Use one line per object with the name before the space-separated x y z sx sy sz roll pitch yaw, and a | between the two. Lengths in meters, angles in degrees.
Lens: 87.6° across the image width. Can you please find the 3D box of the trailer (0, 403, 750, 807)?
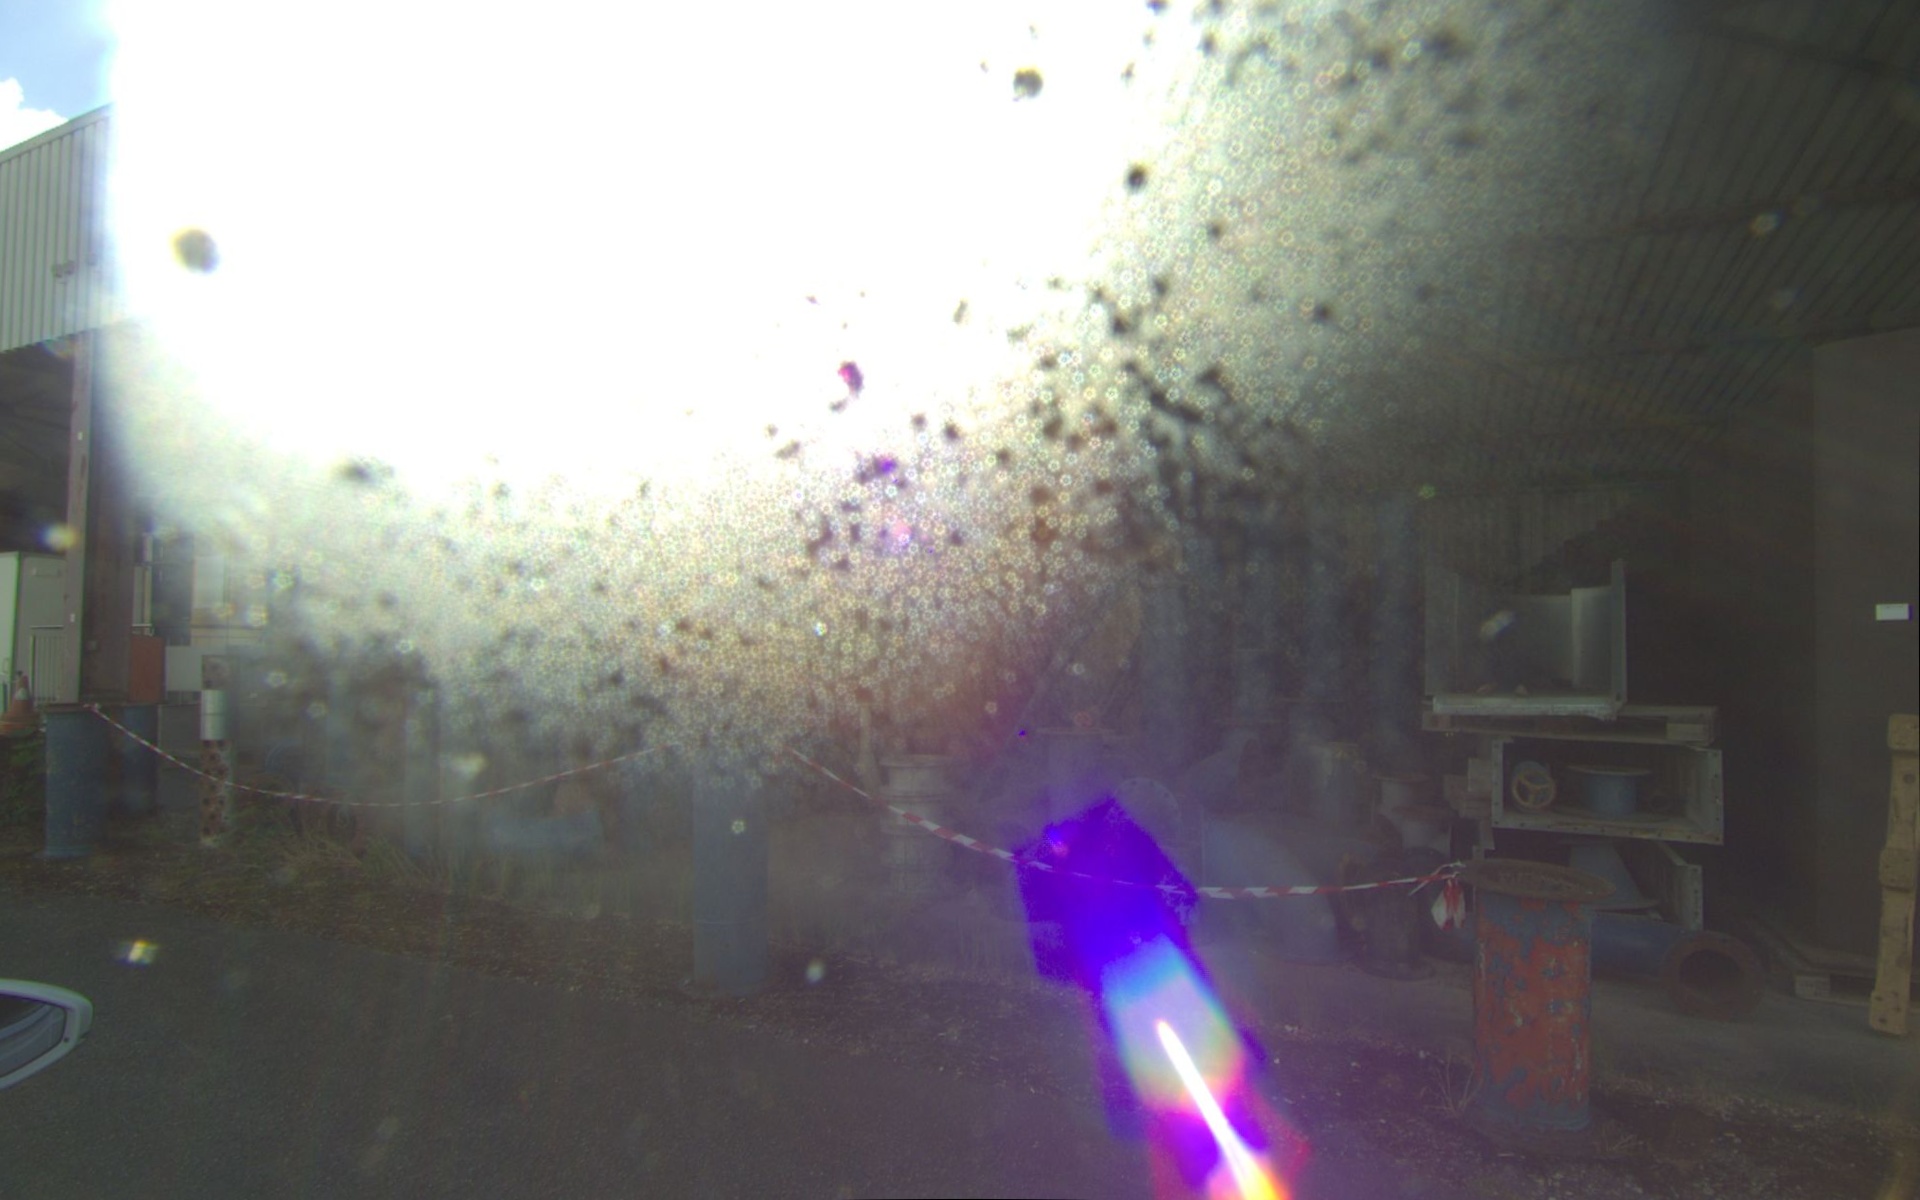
trailer | -7.031 0.202 13.137 2.632 3.337 10.294 0 -2 26

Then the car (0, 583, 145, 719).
car | -17.535 0.866 17.102 2.050 2.326 5.220 -1 -3 25

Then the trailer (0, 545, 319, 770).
trailer | -10.392 0.648 11.825 1.661 2.365 4.542 0 -2 26

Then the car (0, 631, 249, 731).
car | -14.384 1.255 16.401 1.820 1.472 4.109 -1 -2 25

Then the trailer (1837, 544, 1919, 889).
trailer | 6.092 0.640 4.603 2.015 2.022 4.815 -1 -2 28

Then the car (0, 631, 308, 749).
car | -12.054 1.184 14.289 1.833 1.451 4.349 -1 -2 22
